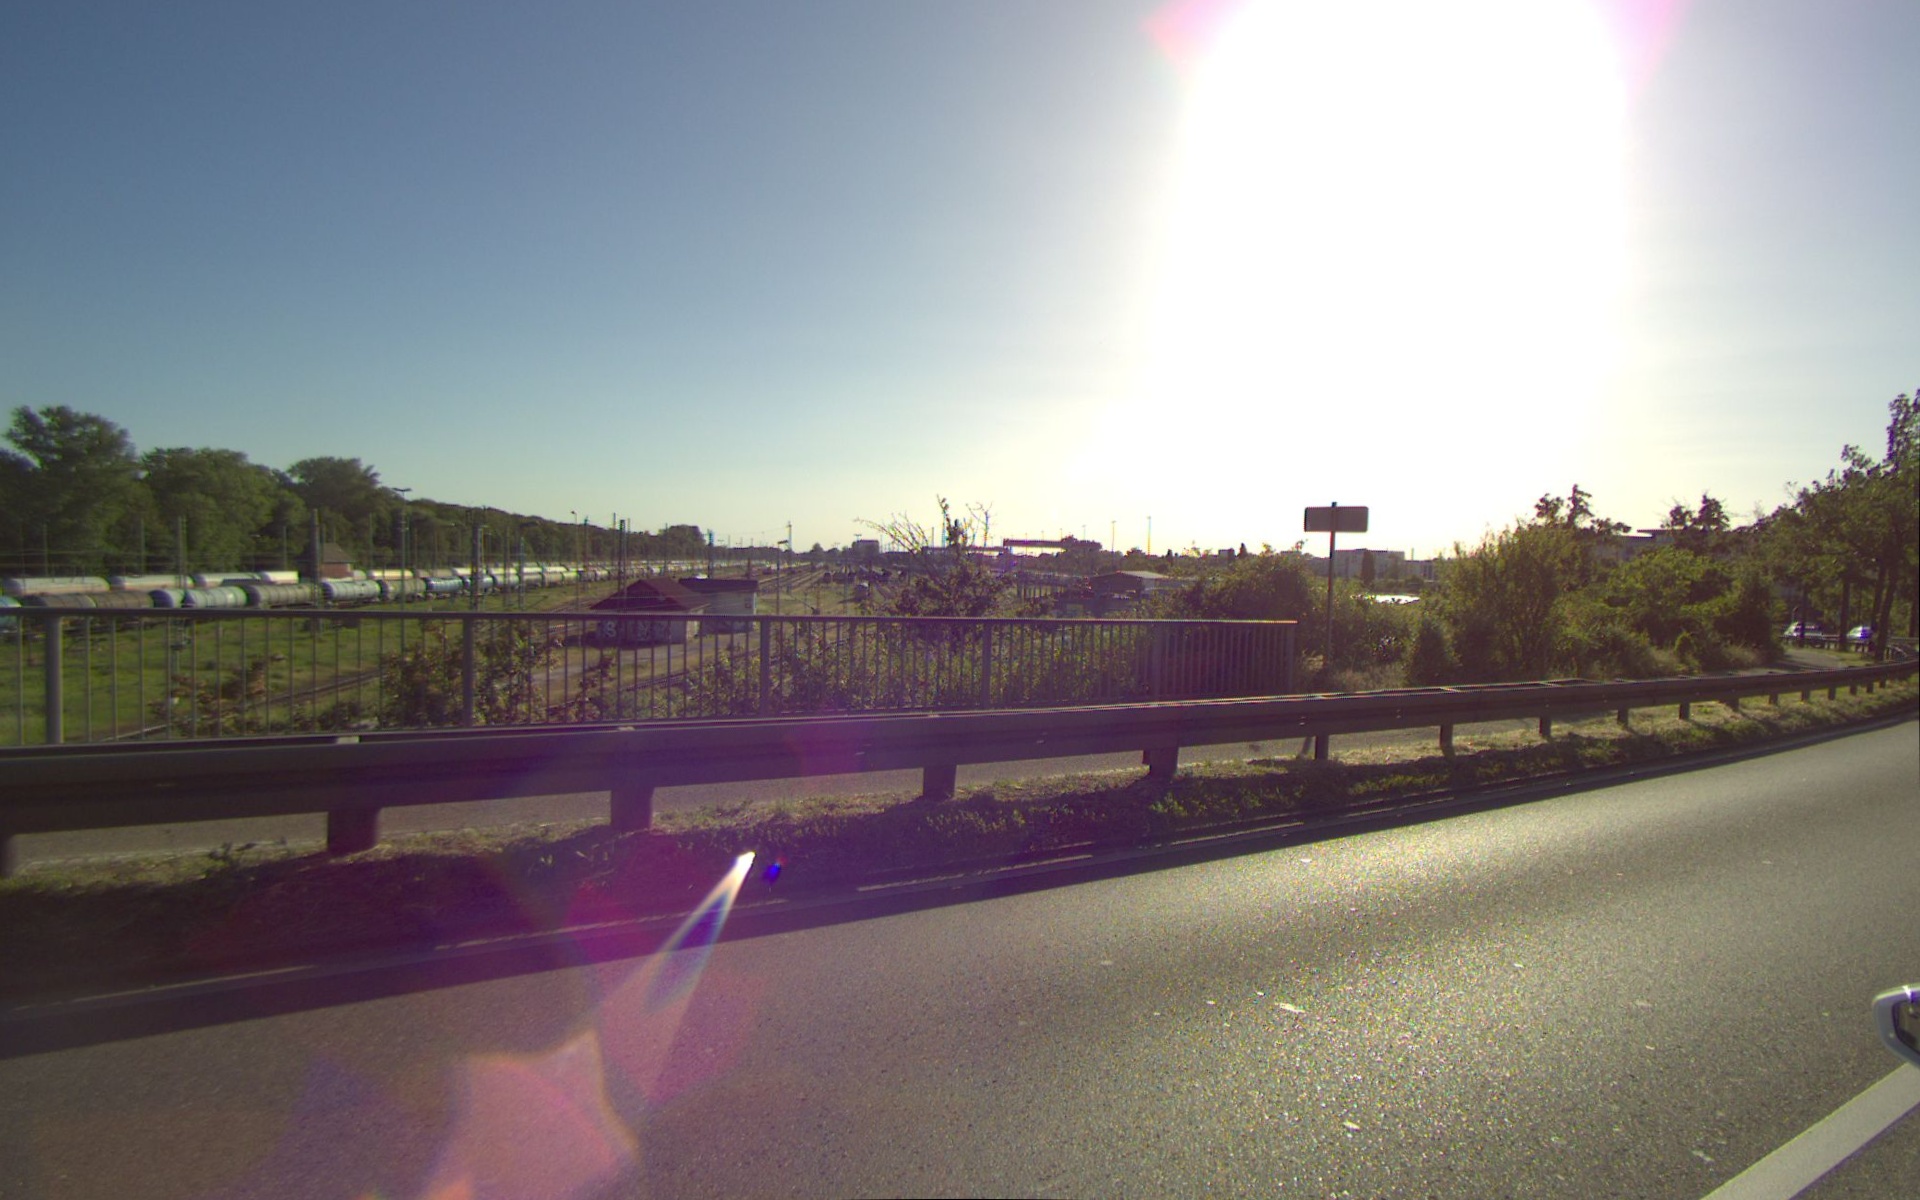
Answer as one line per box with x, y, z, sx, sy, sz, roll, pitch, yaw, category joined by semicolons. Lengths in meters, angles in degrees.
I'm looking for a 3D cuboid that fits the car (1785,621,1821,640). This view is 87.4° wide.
75.080;2.665;89.504;1.809;1.576;3.886;1;0;30;car

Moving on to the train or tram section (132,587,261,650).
-87.746;2.001;116.148;3.833;6.699;16.488;1;0;-6;train or tram section

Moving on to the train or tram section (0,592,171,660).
-85.942;2.379;99.483;3.833;6.089;16.943;1;0;-6;train or tram section

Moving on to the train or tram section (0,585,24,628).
-116.354;0.755;114.579;3.974;5.154;18.166;1;0;-7;train or tram section

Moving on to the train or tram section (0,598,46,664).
-84.165;2.674;82.881;3.833;5.592;16.488;1;0;-6;train or tram section

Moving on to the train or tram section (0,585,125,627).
-118.583;0.703;132.460;3.974;5.154;17.846;1;0;-7;train or tram section

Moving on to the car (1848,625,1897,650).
63.826;2.590;70.318;1.833;1.606;3.905;1;0;31;car
